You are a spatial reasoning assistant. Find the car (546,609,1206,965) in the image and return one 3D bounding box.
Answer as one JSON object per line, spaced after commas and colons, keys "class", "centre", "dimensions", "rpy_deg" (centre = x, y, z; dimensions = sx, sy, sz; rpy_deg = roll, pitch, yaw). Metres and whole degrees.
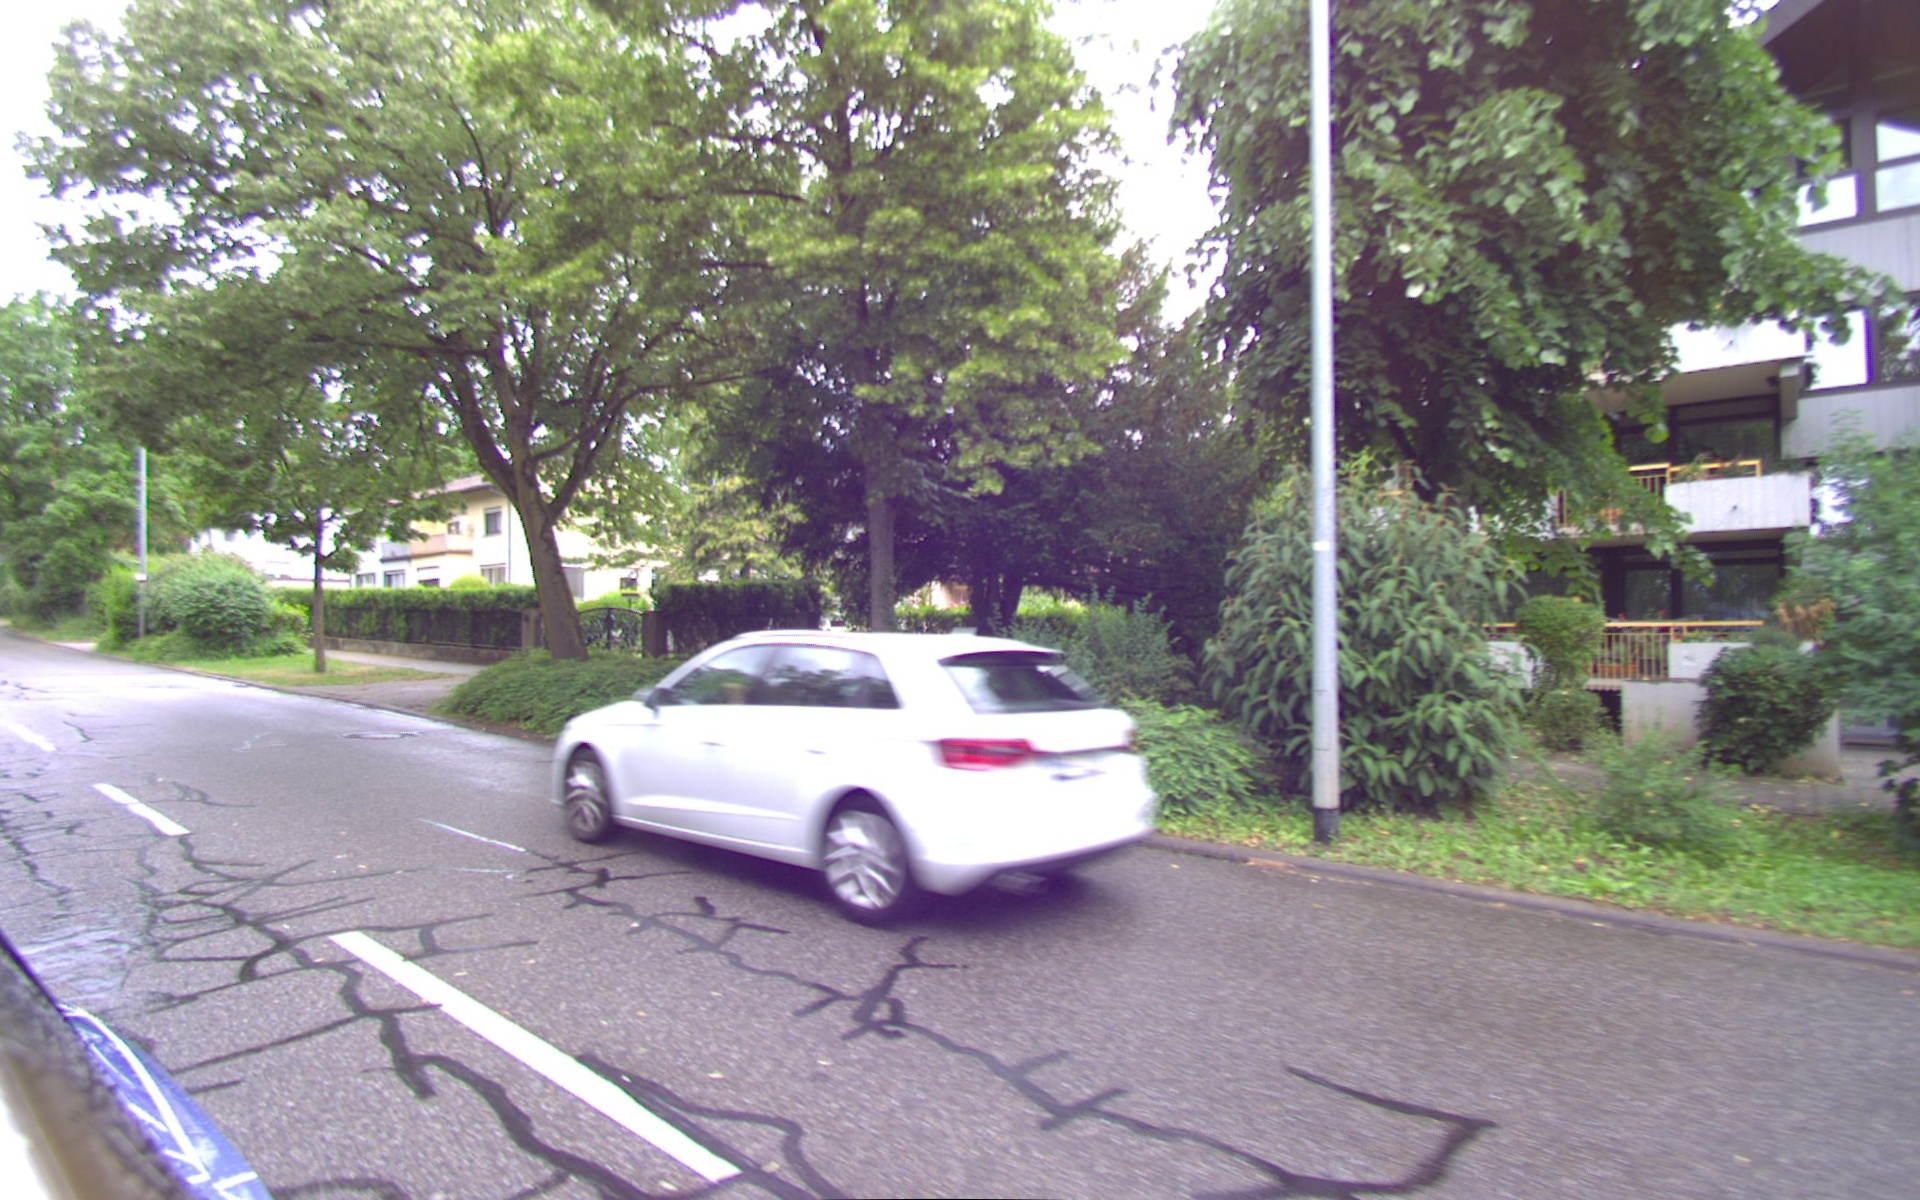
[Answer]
{"class": "car", "centre": [-0.723, 0.819, 6.045], "dimensions": [4.006, 1.438, 1.591], "rpy_deg": [-1, -3, 41]}
